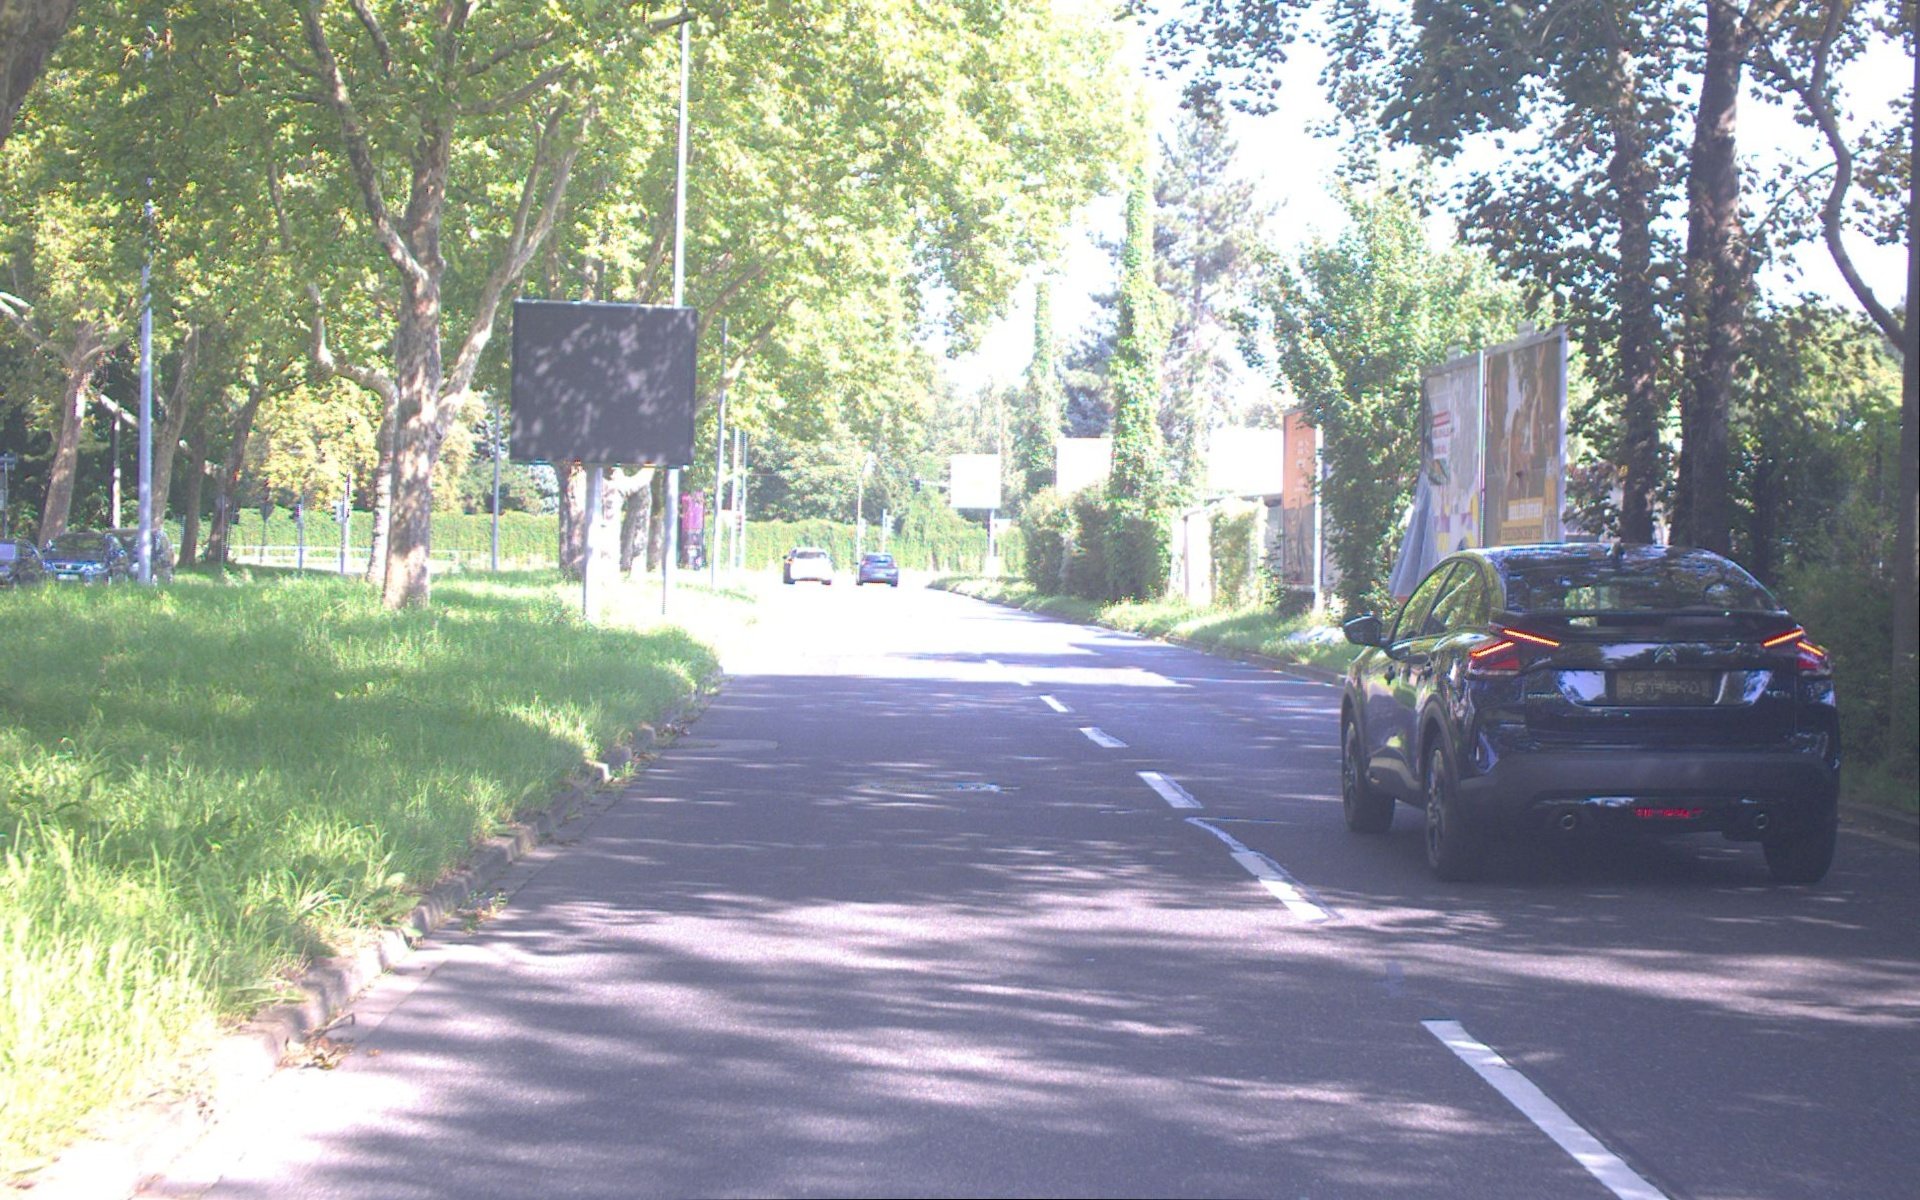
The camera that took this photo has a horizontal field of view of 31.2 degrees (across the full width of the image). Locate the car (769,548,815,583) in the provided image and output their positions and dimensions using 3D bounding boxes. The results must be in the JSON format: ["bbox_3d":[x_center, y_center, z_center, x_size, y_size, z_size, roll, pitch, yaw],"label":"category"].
[{"bbox_3d":[-7.291,-1.512,149.828,1.687,1.457,3.849,2,0,1],"label":"car"}]

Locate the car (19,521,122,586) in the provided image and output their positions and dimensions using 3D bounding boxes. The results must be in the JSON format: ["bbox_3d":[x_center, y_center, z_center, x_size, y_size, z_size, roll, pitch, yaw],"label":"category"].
[{"bbox_3d":[-22.548,-1.178,87.269,1.699,1.562,4.000,1,1,-2],"label":"car"}]

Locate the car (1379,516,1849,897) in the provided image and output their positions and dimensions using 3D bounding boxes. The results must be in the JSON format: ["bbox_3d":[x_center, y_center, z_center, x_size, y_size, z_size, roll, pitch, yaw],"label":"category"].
[{"bbox_3d":[3.010,0.430,16.596,1.645,1.583,4.254,1,0,3],"label":"car"}]

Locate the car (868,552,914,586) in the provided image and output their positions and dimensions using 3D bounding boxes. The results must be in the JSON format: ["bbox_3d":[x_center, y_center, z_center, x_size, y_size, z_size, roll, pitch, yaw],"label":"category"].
[{"bbox_3d":[-3.032,-1.364,150.533,1.797,1.396,4.001,2,1,-3],"label":"car"}]

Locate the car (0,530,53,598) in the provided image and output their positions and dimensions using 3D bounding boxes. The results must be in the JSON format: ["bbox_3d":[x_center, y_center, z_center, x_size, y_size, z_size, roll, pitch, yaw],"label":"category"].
[{"bbox_3d":[-22.226,-0.854,78.986,1.699,1.503,4.541,1,1,-2],"label":"car"}]

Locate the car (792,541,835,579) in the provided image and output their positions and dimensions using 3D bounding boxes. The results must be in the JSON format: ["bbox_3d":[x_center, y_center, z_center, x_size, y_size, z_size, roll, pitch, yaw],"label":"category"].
[{"bbox_3d":[-6.023,-1.643,141.622,1.687,1.457,4.000,2,1,-2],"label":"car"}]
